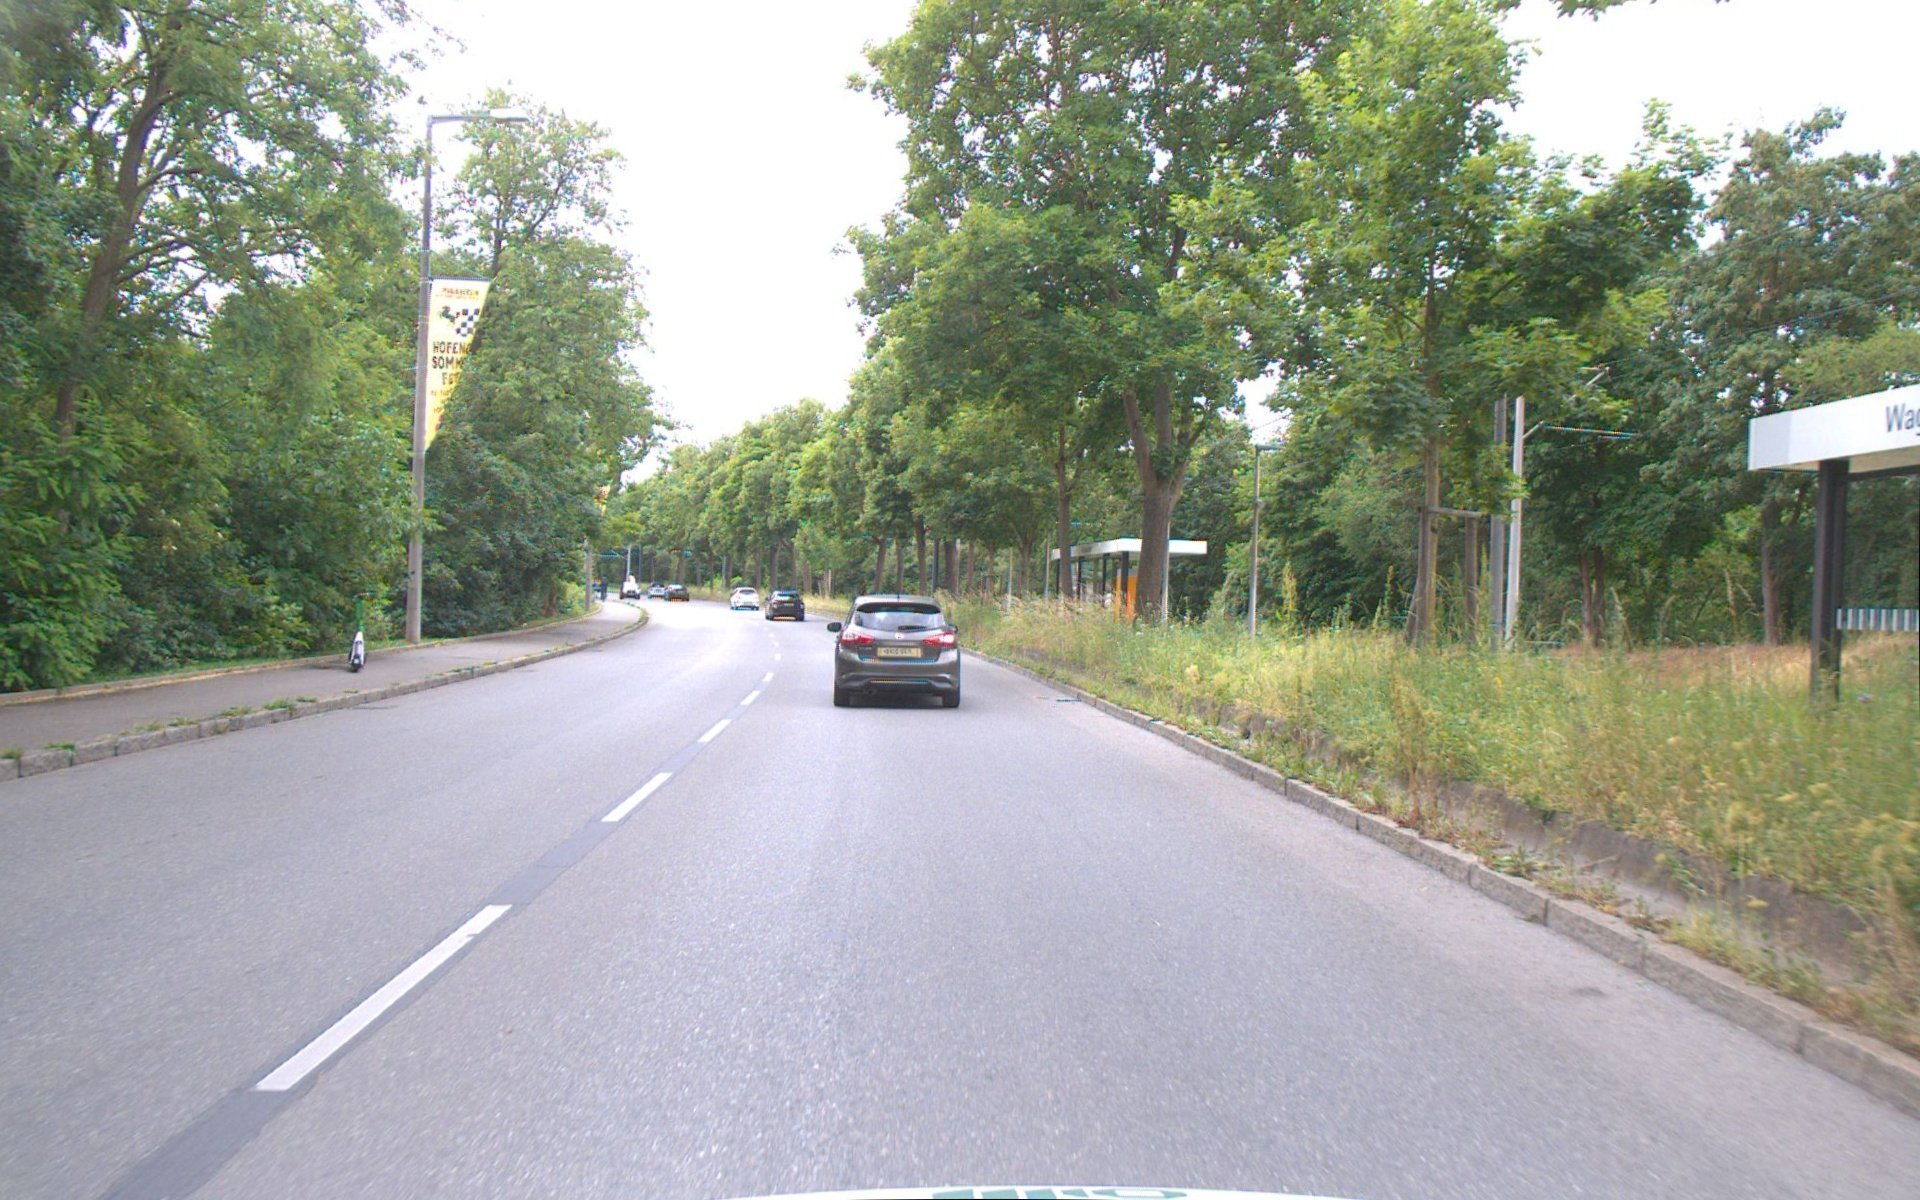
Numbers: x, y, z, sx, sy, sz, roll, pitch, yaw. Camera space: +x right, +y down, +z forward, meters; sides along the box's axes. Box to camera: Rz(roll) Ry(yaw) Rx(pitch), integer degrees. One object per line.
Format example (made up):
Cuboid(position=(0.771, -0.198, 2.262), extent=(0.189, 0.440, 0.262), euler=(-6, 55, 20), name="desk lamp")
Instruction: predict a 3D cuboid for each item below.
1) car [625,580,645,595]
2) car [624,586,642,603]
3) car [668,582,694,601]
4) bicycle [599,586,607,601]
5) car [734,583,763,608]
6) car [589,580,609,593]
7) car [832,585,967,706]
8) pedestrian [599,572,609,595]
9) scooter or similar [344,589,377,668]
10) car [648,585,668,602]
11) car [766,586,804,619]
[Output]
Cuboid(position=(-35.571, -1.383, 181.065), extent=(1.748, 1.497, 3.982), euler=(4, 1, -17), name="car")
Cuboid(position=(-29.980, -0.520, 151.694), extent=(1.568, 1.532, 3.019), euler=(1, 0, -12), name="car")
Cuboid(position=(-24.844, -0.782, 147.147), extent=(1.748, 1.497, 3.982), euler=(5, 0, -17), name="car")
Cuboid(position=(-25.994, -0.468, 120.487), extent=(0.480, 1.048, 1.120), euler=(4, 0, -14), name="bicycle")
Cuboid(position=(-14.298, -0.295, 111.629), extent=(1.743, 1.497, 3.992), euler=(4, 1, -9), name="car")
Cuboid(position=(-45.520, -1.705, 208.270), extent=(1.751, 1.497, 3.974), euler=(4, 1, -22), name="car")
Cuboid(position=(-0.960, 0.595, 24.104), extent=(1.780, 1.534, 3.997), euler=(1, 1, -5), name="car")
Cuboid(position=(-25.943, -1.209, 120.498), extent=(0.607, 1.598, 0.846), euler=(4, 0, -14), name="pedestrian")
Cuboid(position=(-9.624, 0.449, 26.538), extent=(0.360, 1.204, 1.288), euler=(3, 0, -24), name="scooter or similar")
Cuboid(position=(-29.576, -0.614, 161.741), extent=(1.745, 1.497, 3.988), euler=(3, 1, -12), name="car")
Cuboid(position=(-8.789, 0.092, 83.217), extent=(1.742, 1.497, 3.996), euler=(4, 1, -5), name="car")
